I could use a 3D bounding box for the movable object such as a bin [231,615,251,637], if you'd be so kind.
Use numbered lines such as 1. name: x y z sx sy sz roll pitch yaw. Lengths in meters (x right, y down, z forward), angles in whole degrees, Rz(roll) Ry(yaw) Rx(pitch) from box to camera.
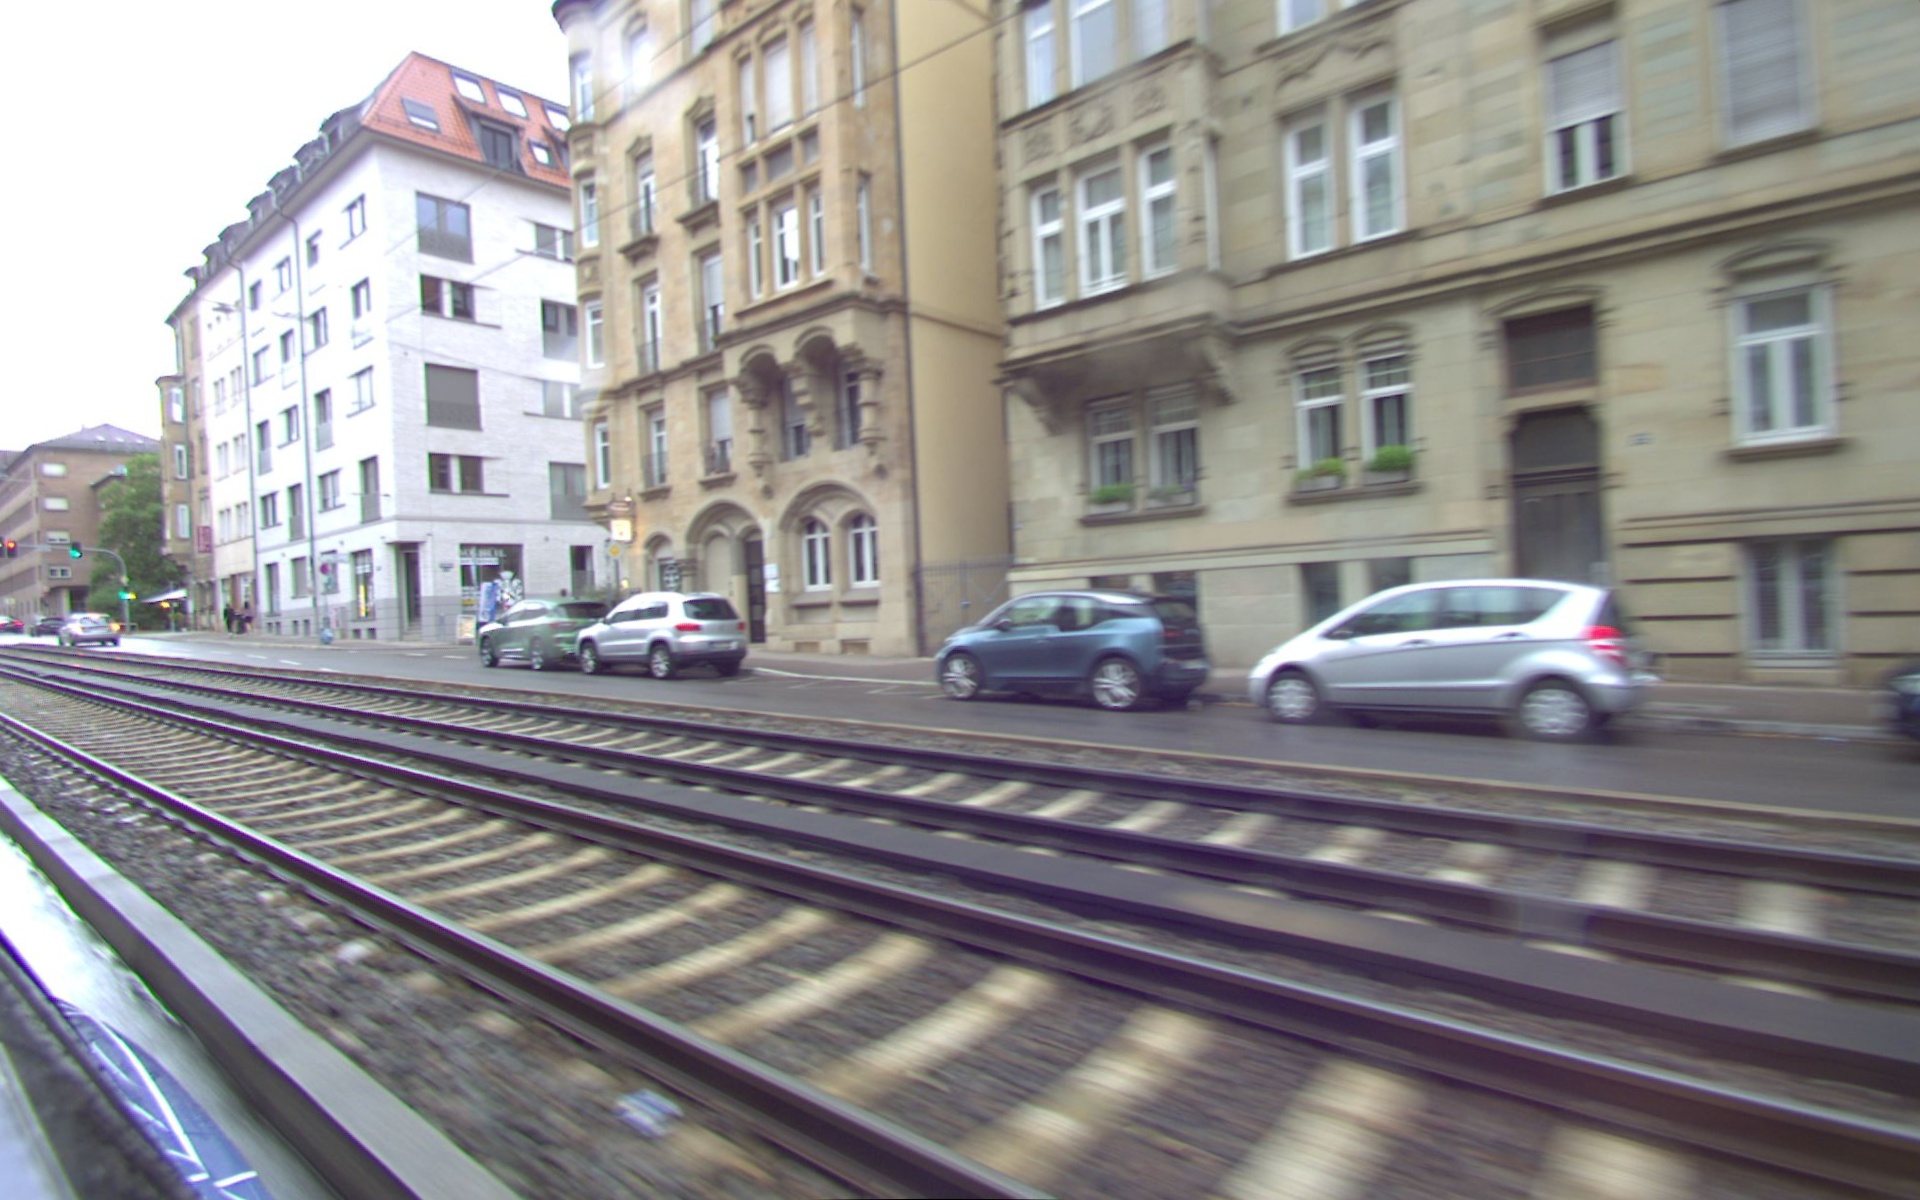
1. movable object such as a bin: -37.134 1.343 52.269 0.563 1.088 0.623 -1 4 40

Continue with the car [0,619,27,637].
1. car: -80.310 2.380 85.295 4.859 1.468 2.065 -1 -1 43

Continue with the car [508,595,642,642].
1. car: -15.386 0.712 40.670 2.032 1.741 4.647 -1 0 38

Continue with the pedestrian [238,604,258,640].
1. pedestrian: -35.056 1.070 49.803 0.658 1.731 0.595 -1 2 44

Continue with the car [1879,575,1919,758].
1. car: 9.458 0.486 7.157 4.266 1.409 1.744 -1 -1 40

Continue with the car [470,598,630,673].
1. car: -9.786 0.791 23.980 4.429 1.614 1.838 -1 -1 43

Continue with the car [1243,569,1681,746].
1. car: 5.178 0.537 10.732 3.853 1.535 1.677 -1 -1 42

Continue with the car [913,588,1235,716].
1. car: 1.491 0.650 14.172 4.167 1.519 1.851 -1 -1 41

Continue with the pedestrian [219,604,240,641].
1. pedestrian: -35.566 1.087 49.255 0.746 1.731 0.595 -1 2 44

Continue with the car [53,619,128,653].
1. car: -39.810 1.631 46.305 4.291 1.468 1.961 -1 -1 40

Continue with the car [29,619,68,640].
1. car: -63.129 2.025 70.082 3.781 1.398 1.686 -1 -1 43

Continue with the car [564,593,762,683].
1. car: -6.194 0.736 20.881 4.311 1.665 1.840 -1 -1 40
